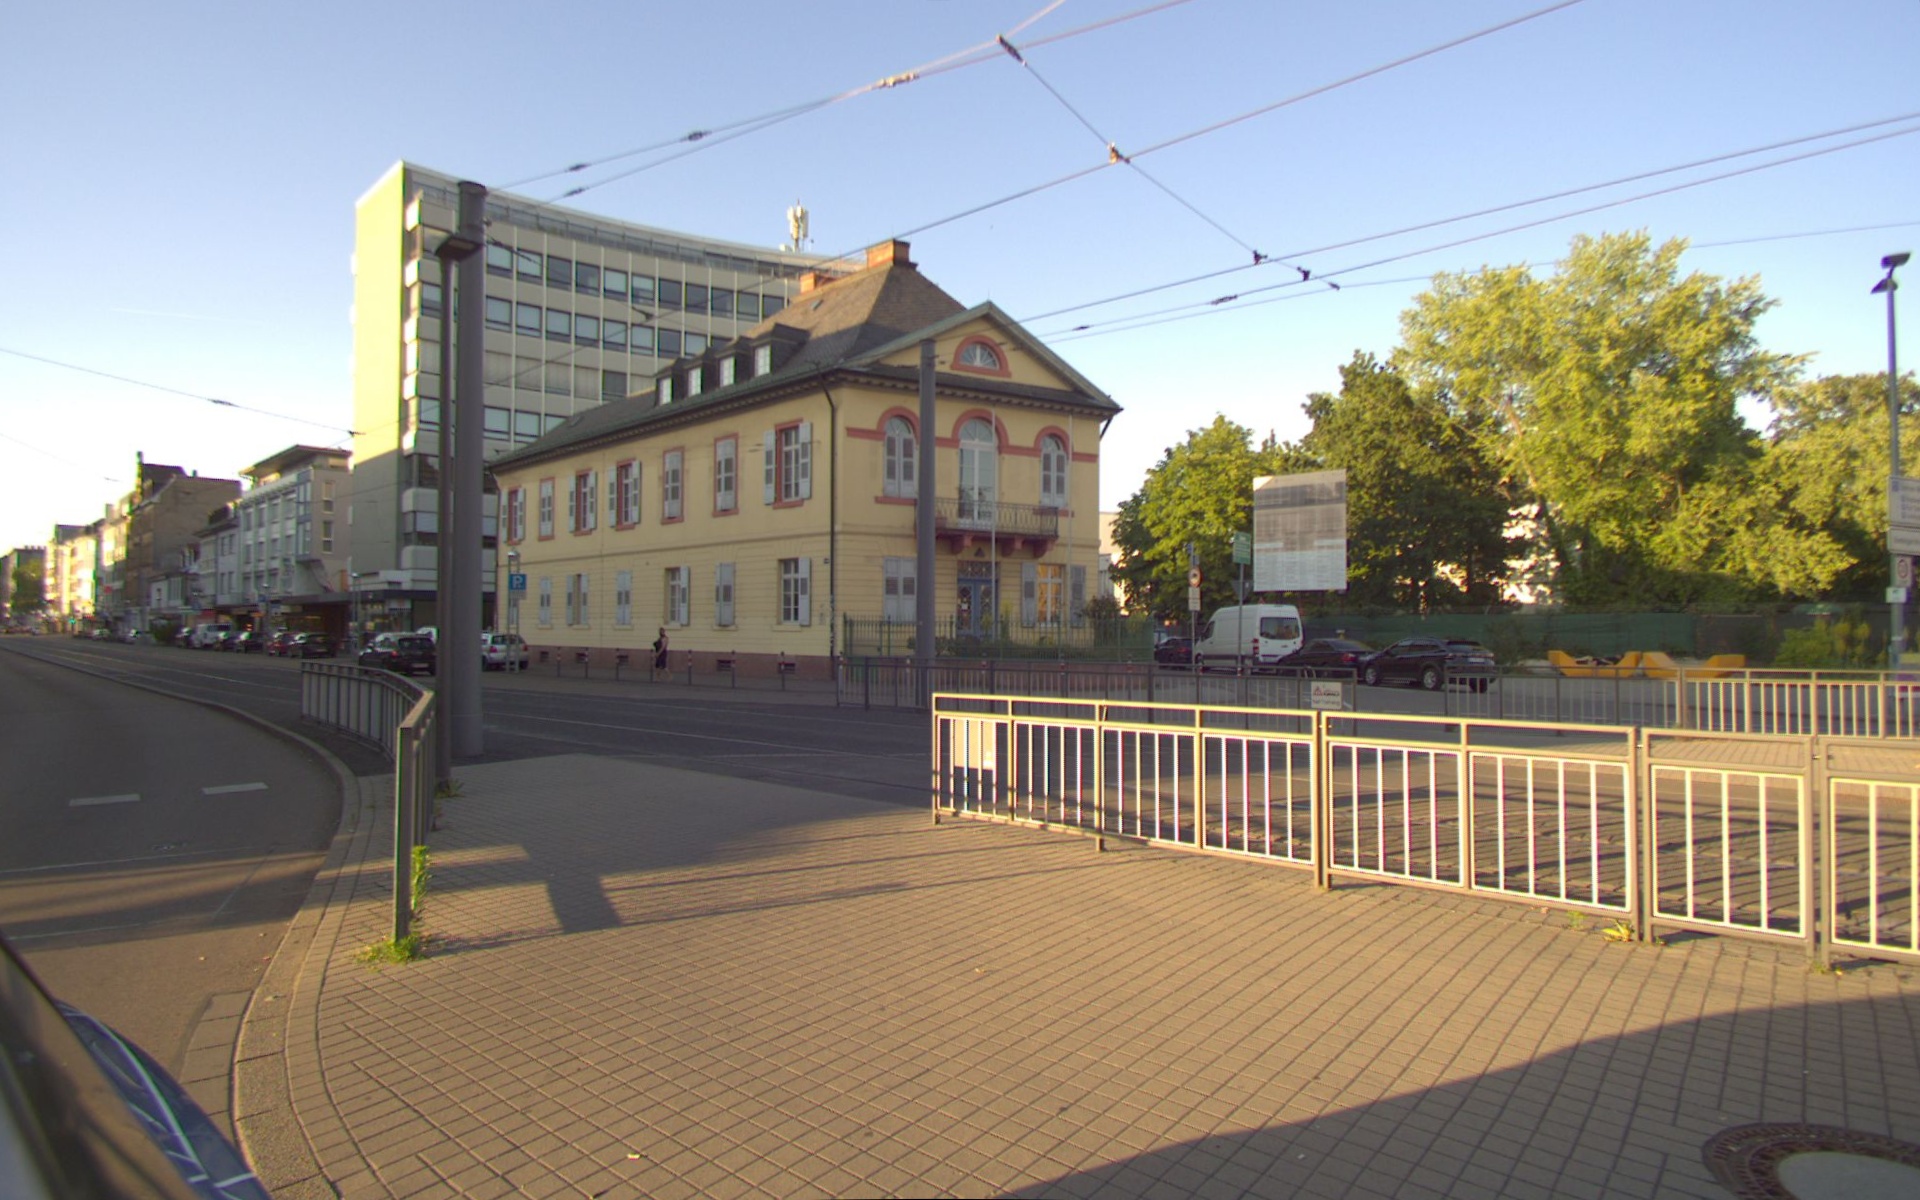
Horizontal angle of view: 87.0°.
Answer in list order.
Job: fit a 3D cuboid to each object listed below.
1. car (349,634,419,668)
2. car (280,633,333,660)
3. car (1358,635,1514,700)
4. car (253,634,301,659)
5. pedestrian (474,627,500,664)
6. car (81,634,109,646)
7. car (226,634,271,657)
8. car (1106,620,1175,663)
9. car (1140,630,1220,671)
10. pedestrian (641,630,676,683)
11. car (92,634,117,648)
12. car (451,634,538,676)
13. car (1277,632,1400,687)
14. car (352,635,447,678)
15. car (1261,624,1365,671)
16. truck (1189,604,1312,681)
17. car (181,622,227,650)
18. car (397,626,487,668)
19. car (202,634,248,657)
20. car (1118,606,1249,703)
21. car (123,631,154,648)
[{"bbox_3d":[-27.230,2.371,47.775,4.283,1.464,1.702,-2,-1,43],"label":"car"},{"bbox_3d":[-36.924,2.604,57.153,3.966,1.436,1.673,-2,-1,44],"label":"car"},{"bbox_3d":[13.329,1.846,28.631,1.967,1.558,4.009,-1,0,-11],"label":"car"},{"bbox_3d":[-40.838,2.741,60.491,3.593,1.445,1.673,-2,-2,44],"label":"car"},{"bbox_3d":[-20.968,2.009,44.899,0.790,1.553,0.878,0,-1,-44],"label":"pedestrian"},{"bbox_3d":[-106.140,4.916,124.176,4.402,1.431,1.972,-1,-1,42],"label":"car"},{"bbox_3d":[-47.447,3.026,67.463,4.093,1.472,1.770,-2,-3,45],"label":"car"},{"bbox_3d":[8.682,1.949,48.941,1.967,1.900,4.009,-1,0,-11],"label":"car"},{"bbox_3d":[9.563,2.152,44.350,1.967,1.589,4.009,-1,0,-11],"label":"car"},{"bbox_3d":[-8.947,1.676,30.035,0.718,1.548,0.712,-1,-3,39],"label":"pedestrian"},{"bbox_3d":[-97.369,4.621,115.166,3.817,1.504,1.821,-1,-1,44],"label":"car"},{"bbox_3d":[-18.261,2.127,39.606,4.001,1.485,1.729,-2,-1,44],"label":"car"},{"bbox_3d":[12.338,1.902,33.309,1.967,1.589,4.009,-1,0,-11],"label":"car"},{"bbox_3d":[-19.819,1.963,35.726,4.223,1.387,1.747,-1,-2,43],"label":"car"},{"bbox_3d":[15.916,2.106,45.656,3.997,2.029,1.973,-1,-3,40],"label":"car"},{"bbox_3d":[11.003,1.541,38.842,2.160,2.719,5.479,-1,0,-12],"label":"truck"},{"bbox_3d":[-57.669,2.690,77.139,5.100,2.029,1.943,-1,-1,43],"label":"car"},{"bbox_3d":[-22.207,1.982,43.293,4.759,1.673,1.866,-2,-1,42],"label":"car"},{"bbox_3d":[-52.247,3.204,71.906,4.572,1.437,1.851,-1,-1,44],"label":"car"},{"bbox_3d":[5.243,1.211,23.347,1.991,2.029,3.962,-1,-2,28],"label":"car"},{"bbox_3d":[-82.235,3.891,101.254,4.624,1.568,1.870,-1,-1,44],"label":"car"}]
